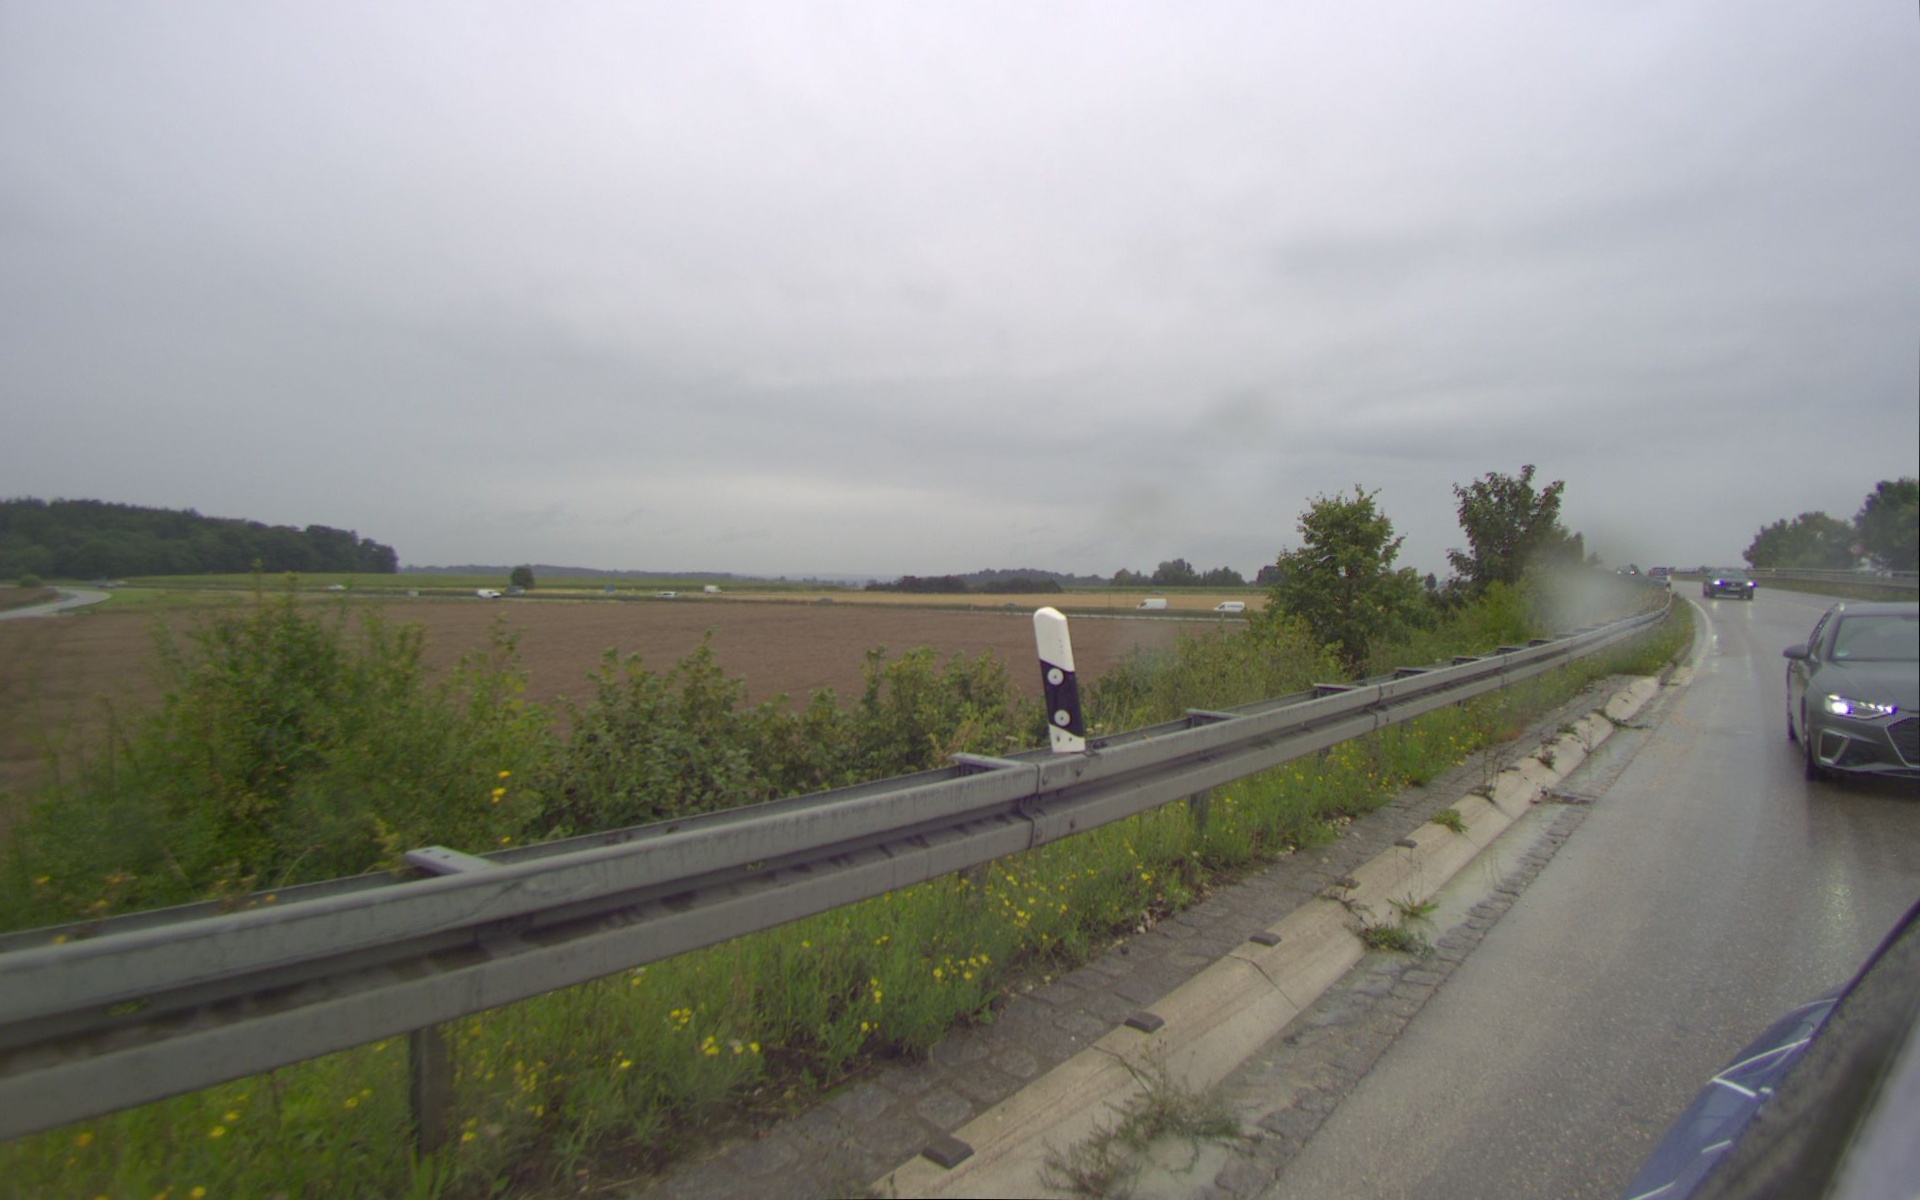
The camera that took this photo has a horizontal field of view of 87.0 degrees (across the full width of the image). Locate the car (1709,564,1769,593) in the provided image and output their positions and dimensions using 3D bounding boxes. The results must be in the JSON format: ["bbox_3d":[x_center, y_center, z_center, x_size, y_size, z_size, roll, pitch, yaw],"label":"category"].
[{"bbox_3d":[38.849,-1.111,50.556,1.896,1.386,4.514,1,2,32],"label":"car"}]

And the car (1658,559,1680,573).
[{"bbox_3d":[79.073,-3.785,112.902,1.773,1.544,4.123,2,3,32],"label":"car"}]

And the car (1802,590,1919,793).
[{"bbox_3d":[8.455,0.630,8.627,1.901,1.386,4.501,0,1,39],"label":"car"}]
